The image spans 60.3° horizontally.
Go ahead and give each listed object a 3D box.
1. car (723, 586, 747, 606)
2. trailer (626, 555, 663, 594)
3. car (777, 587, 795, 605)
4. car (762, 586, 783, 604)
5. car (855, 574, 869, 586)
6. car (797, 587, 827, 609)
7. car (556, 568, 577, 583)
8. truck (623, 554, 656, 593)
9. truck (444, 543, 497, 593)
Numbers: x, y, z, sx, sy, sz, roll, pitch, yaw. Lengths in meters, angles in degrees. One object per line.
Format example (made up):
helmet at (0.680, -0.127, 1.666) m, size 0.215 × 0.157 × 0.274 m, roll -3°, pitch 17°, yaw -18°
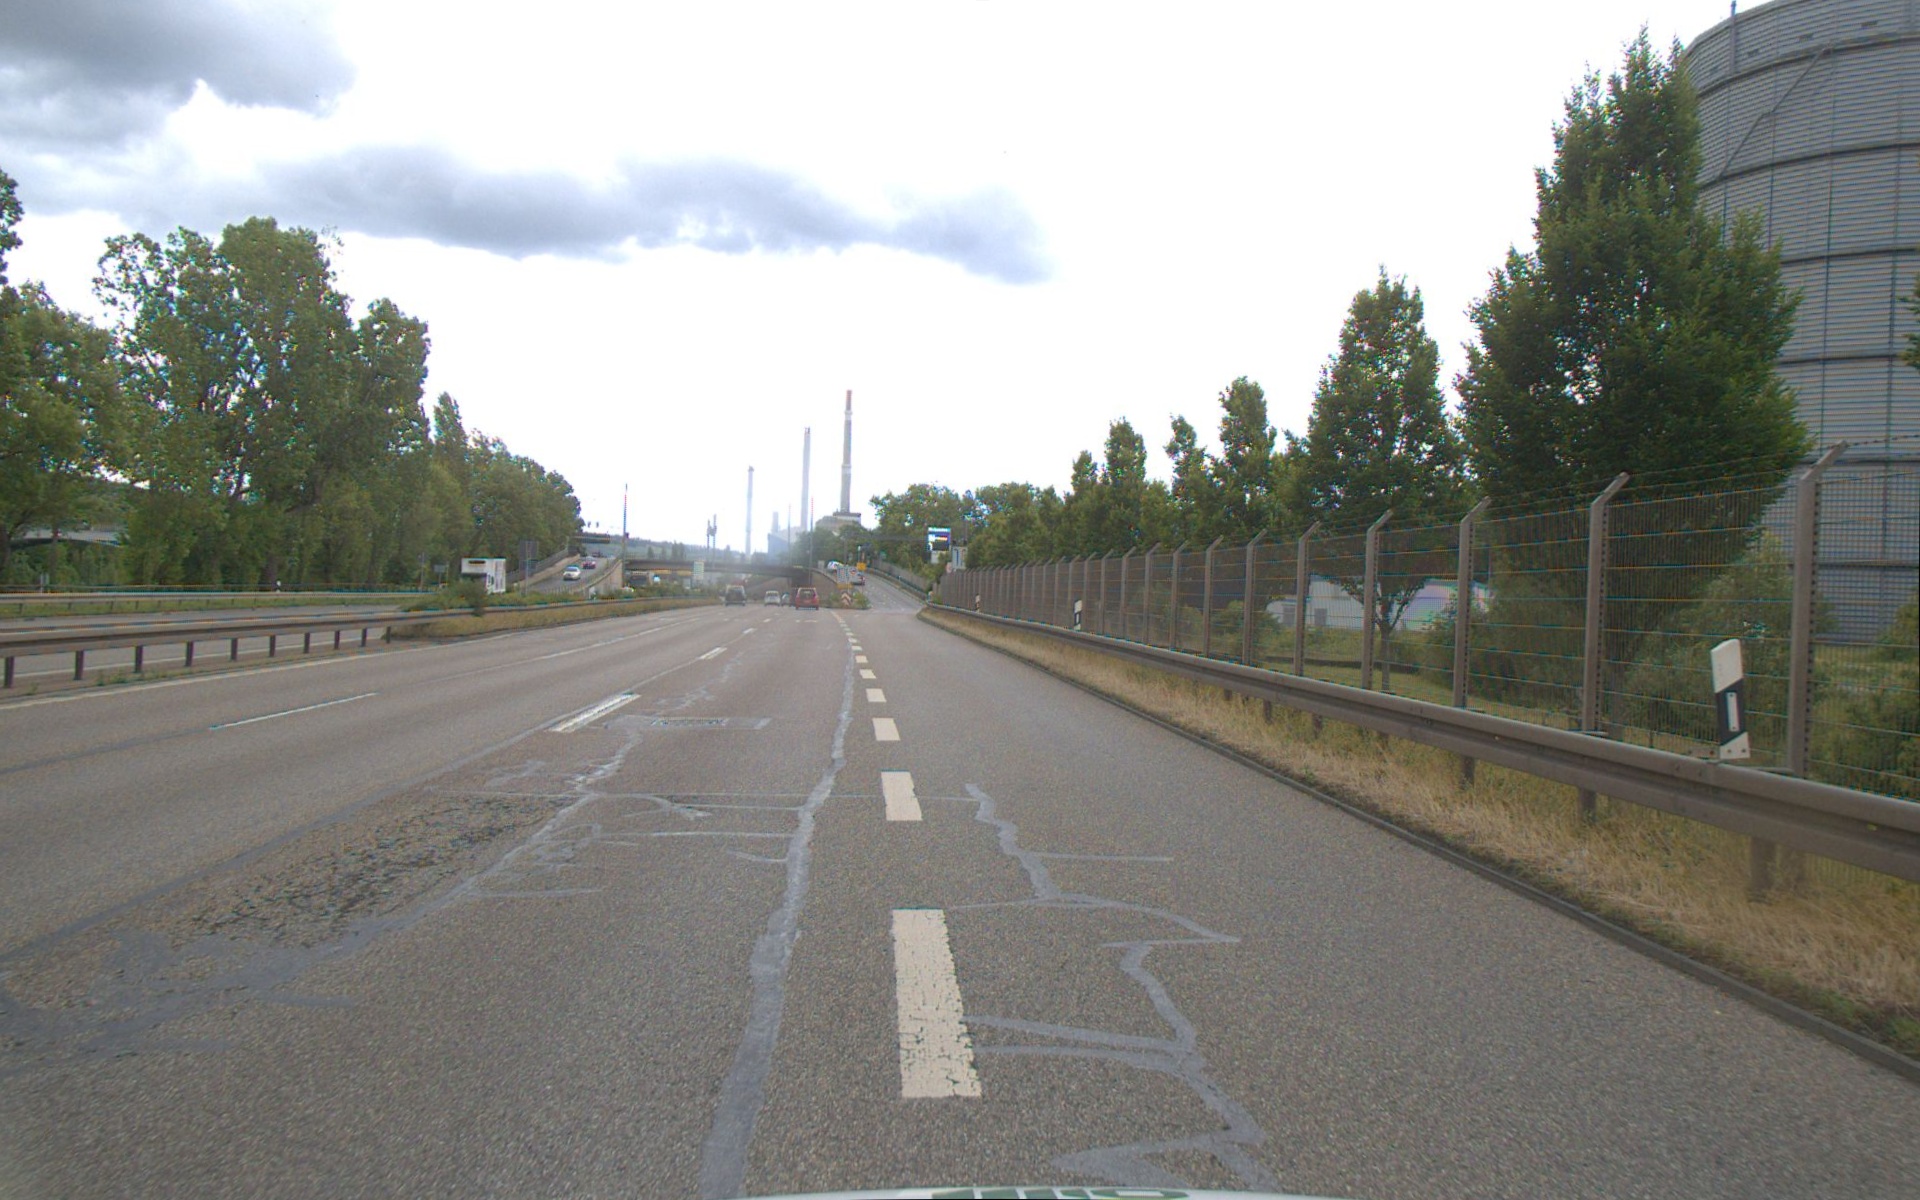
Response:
car at (-21.105, -0.401, 155.217) m, size 1.955 × 1.713 × 3.996 m, roll 3°, pitch 1°, yaw -5°
trailer at (-41.496, -3.301, 218.117) m, size 3.397 × 4.754 × 14.763 m, roll 2°, pitch 0°, yaw -6°
car at (-21.945, -0.516, 208.319) m, size 1.883 × 2.048 × 3.991 m, roll 2°, pitch 1°, yaw -10°
car at (-19.361, -0.487, 170.621) m, size 1.955 × 1.713 × 3.996 m, roll 3°, pitch 1°, yaw -5°
car at (-13.516, -2.798, 227.893) m, size 1.714 × 1.608 × 4.083 m, roll 1°, pitch 0°, yaw -2°
car at (-10.536, -0.163, 117.857) m, size 1.954 × 1.444 × 3.997 m, roll 3°, pitch 1°, yaw -4°
car at (-48.349, -2.965, 203.221) m, size 1.956 × 1.673 × 4.596 m, roll 3°, pitch 0°, yaw -8°
truck at (-40.706, -3.289, 210.436) m, size 3.397 × 4.754 × 6.203 m, roll 2°, pitch 0°, yaw -6°
truck at (-38.686, -2.470, 130.929) m, size 2.927 × 3.707 × 6.325 m, roll 3°, pitch 0°, yaw -8°
